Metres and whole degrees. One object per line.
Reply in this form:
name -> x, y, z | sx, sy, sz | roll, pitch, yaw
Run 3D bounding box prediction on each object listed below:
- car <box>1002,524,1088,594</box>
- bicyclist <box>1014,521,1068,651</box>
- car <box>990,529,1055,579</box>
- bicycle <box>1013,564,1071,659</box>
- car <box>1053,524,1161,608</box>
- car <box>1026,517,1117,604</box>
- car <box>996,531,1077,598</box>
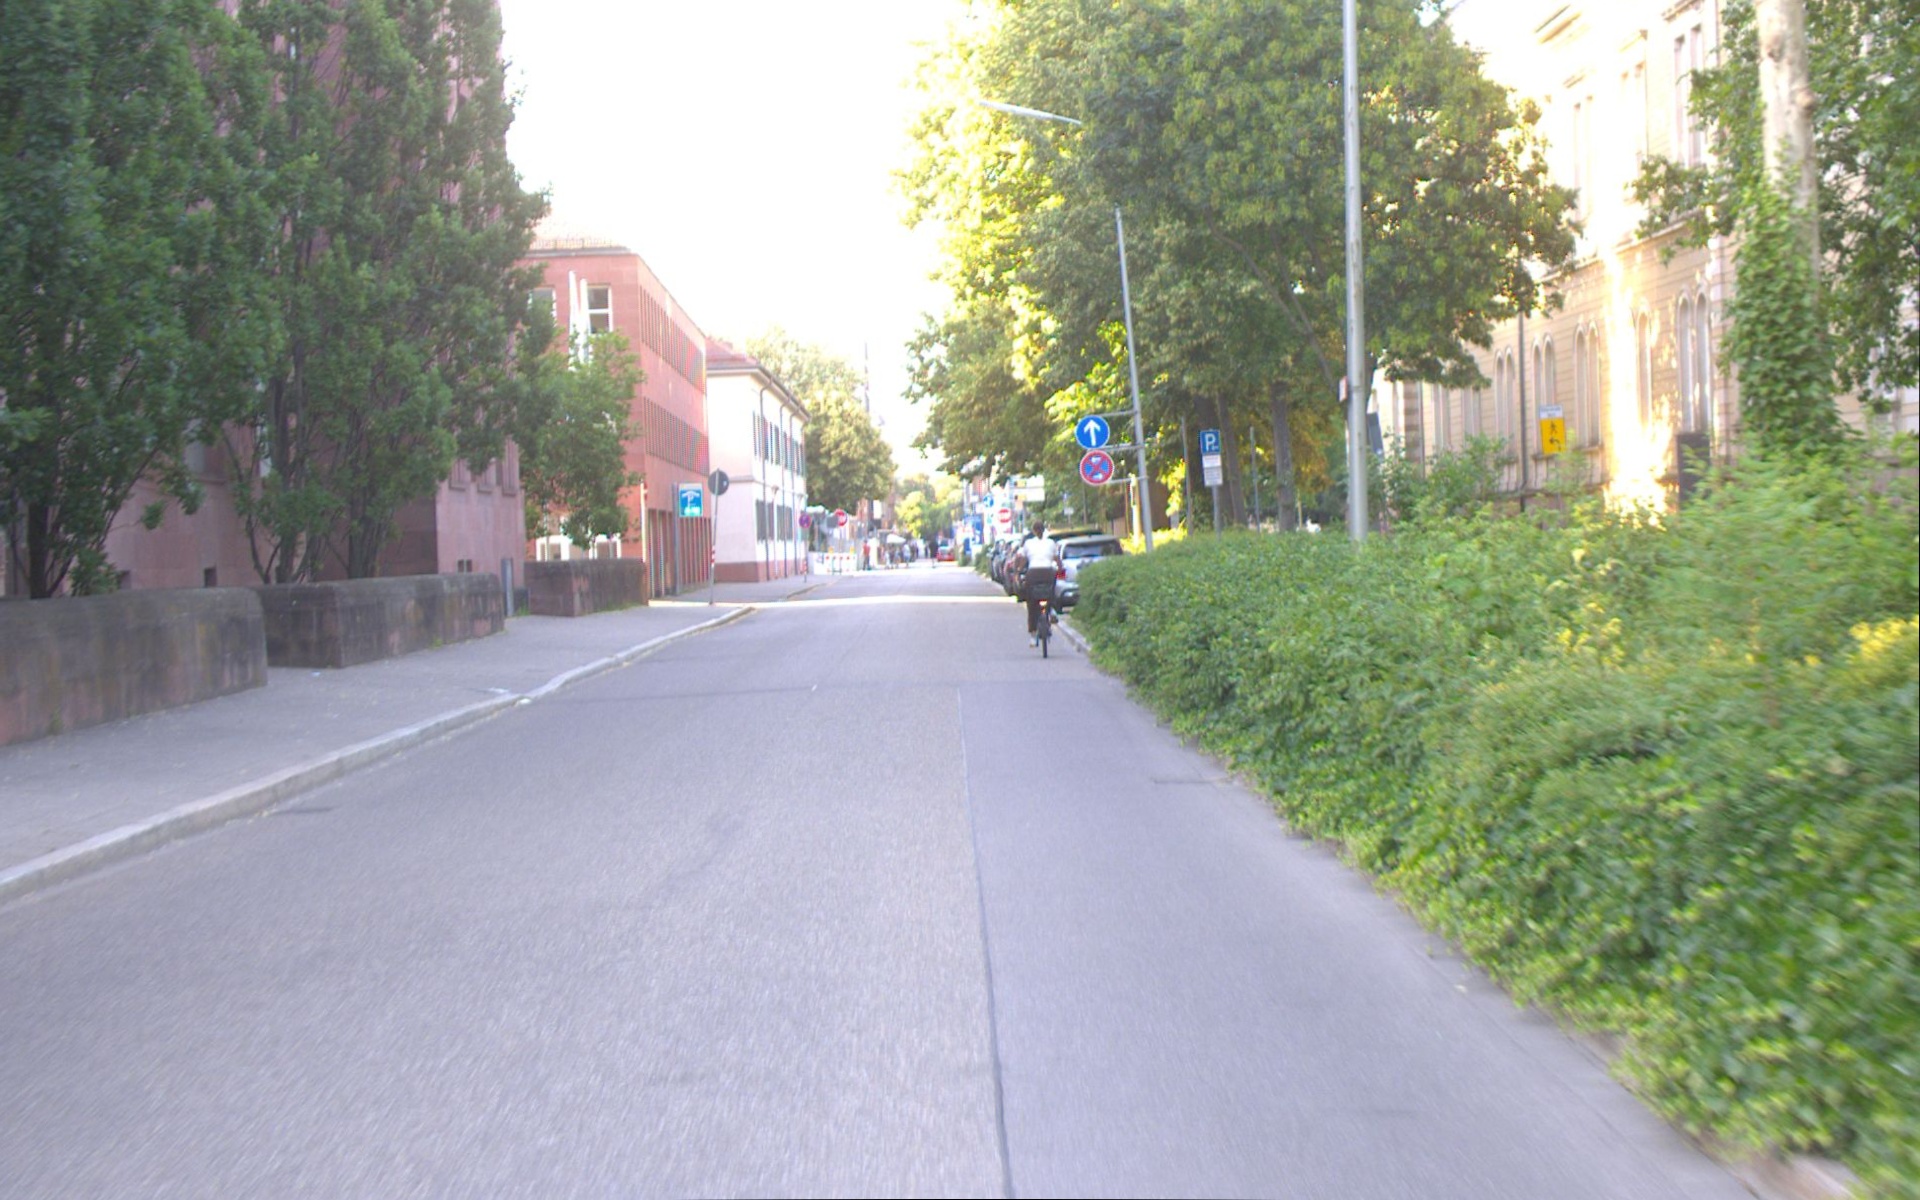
car -> 1.941, -0.962, 79.564 | 1.715, 1.532, 4.049 | -2, 1, -2
bicyclist -> 1.047, -0.188, 44.586 | 0.639, 1.661, 0.843 | 0, 1, -2
car -> 2.090, -1.578, 116.395 | 1.993, 1.579, 4.000 | -3, 1, -1
bicycle -> 1.052, 0.134, 44.583 | 0.638, 1.189, 1.876 | 0, 1, -2
car -> 2.796, -0.649, 65.941 | 1.685, 1.442, 3.672 | -4, 1, -2
car -> 2.290, -0.835, 71.700 | 1.715, 1.706, 4.473 | -2, 1, 0
car -> 2.087, -1.003, 95.266 | 1.993, 1.700, 4.000 | -3, 1, -1
